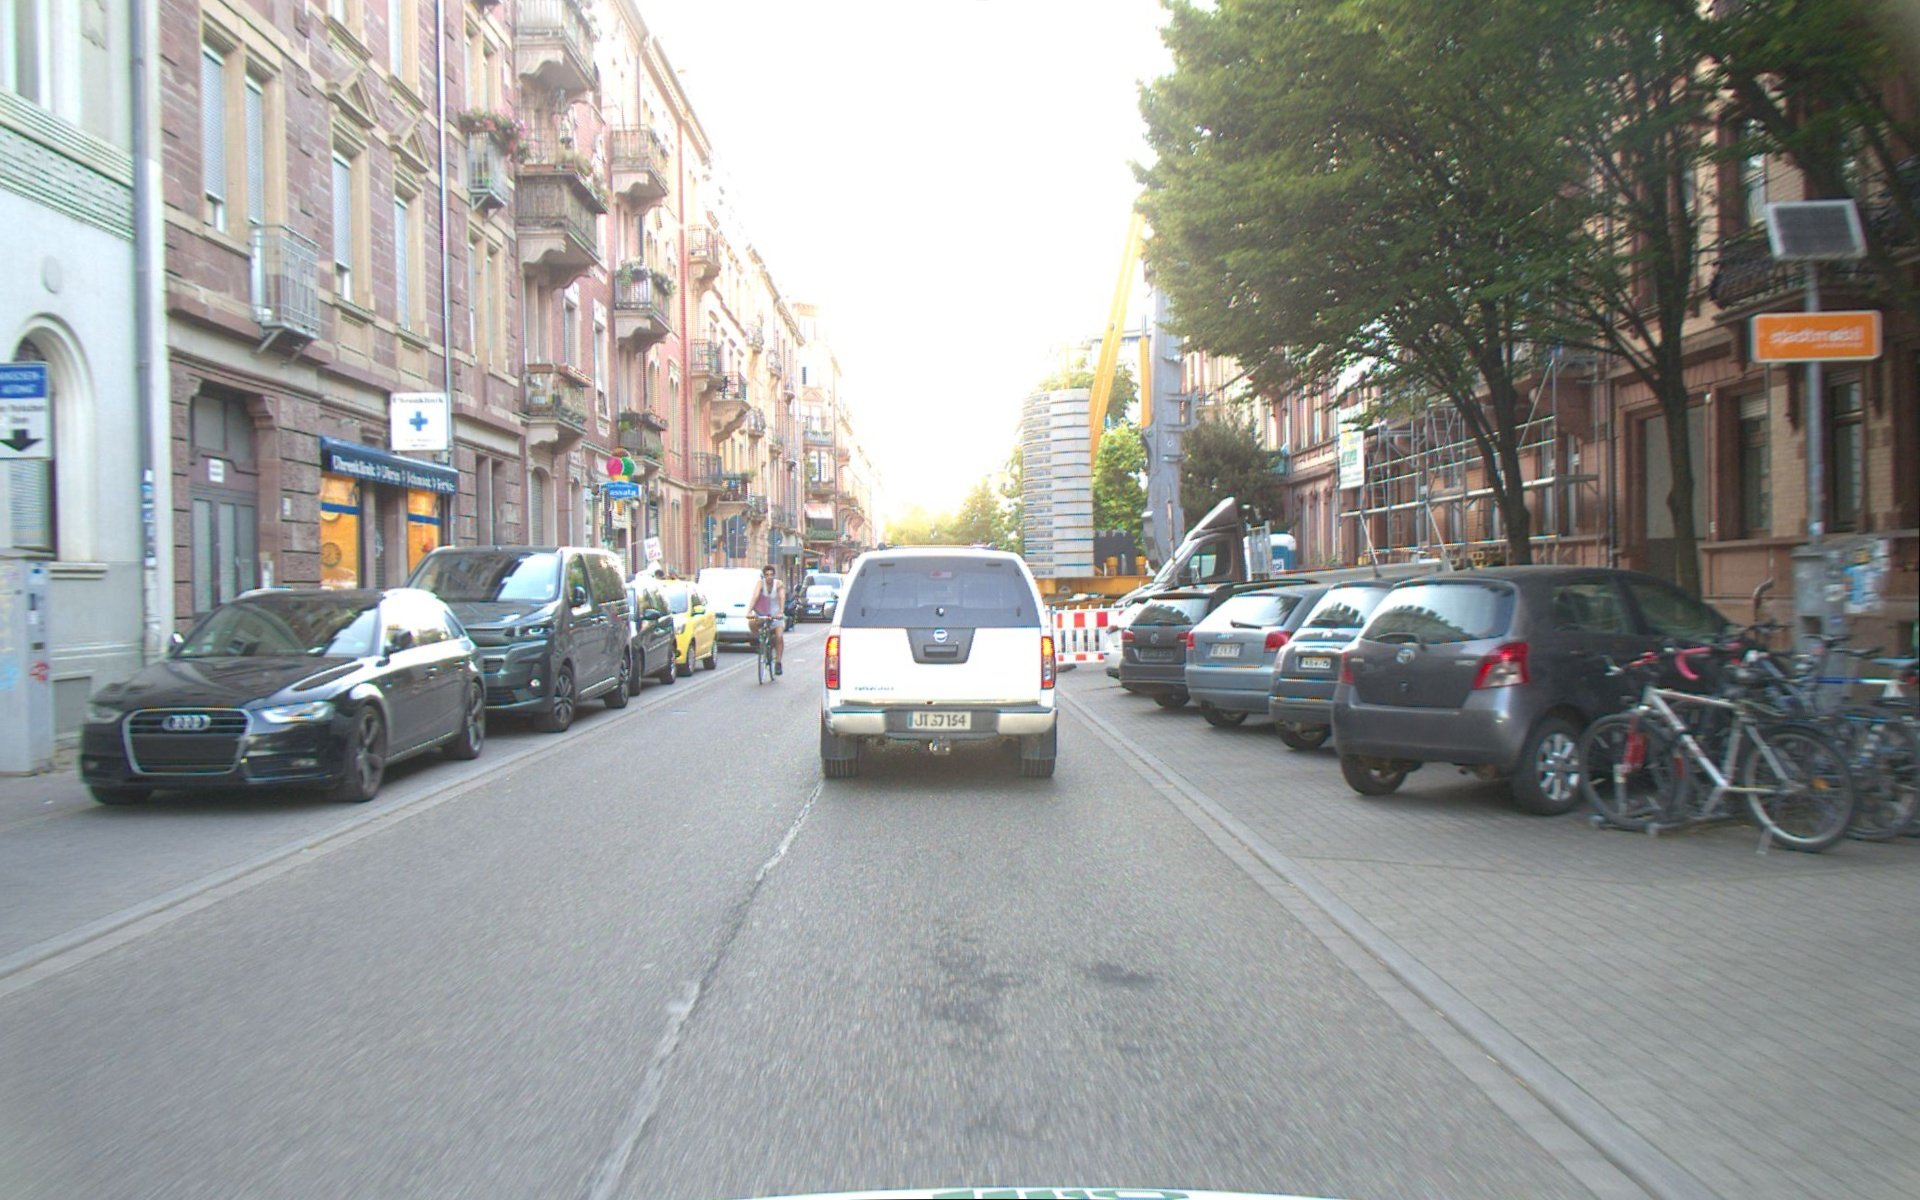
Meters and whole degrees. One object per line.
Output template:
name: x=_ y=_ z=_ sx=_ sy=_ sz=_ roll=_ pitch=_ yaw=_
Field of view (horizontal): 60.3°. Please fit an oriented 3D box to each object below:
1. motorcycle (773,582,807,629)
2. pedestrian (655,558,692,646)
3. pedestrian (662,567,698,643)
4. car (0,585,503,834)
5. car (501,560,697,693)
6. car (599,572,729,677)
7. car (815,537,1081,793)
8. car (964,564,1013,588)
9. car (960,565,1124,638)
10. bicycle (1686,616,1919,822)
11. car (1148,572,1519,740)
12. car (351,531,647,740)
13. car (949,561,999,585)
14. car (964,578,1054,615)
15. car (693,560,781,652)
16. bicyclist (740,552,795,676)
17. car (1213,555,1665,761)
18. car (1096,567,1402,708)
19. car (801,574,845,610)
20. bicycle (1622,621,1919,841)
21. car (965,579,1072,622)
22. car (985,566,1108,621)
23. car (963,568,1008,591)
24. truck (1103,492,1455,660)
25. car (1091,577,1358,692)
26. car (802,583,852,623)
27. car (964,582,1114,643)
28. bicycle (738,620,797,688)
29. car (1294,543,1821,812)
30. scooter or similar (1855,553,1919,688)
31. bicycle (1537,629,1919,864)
motorcycle: x=-5.372 y=0.147 z=52.435 sx=0.819 sy=1.440 sz=2.549 roll=0 pitch=1 yaw=0
pedestrian: x=-6.282 y=0.035 z=36.329 sx=0.723 sy=1.902 sz=0.618 roll=0 pitch=0 yaw=-3
pedestrian: x=-7.078 y=0.111 z=41.797 sx=0.603 sy=1.902 sz=0.740 roll=0 pitch=0 yaw=22
car: x=-4.896 y=0.636 z=12.219 sx=1.873 sy=1.497 sz=4.533 roll=0 pitch=1 yaw=-1
car: x=-5.037 y=0.325 z=23.641 sx=1.866 sy=1.692 sz=4.068 roll=-1 pitch=1 yaw=0
car: x=-4.927 y=0.363 z=27.953 sx=1.468 sy=1.621 sz=3.856 roll=-1 pitch=1 yaw=0
car: x=-0.103 y=0.440 z=14.102 sx=1.894 sy=1.826 sz=4.621 roll=0 pitch=1 yaw=0
car: x=2.650 y=-2.242 z=153.611 sx=4.493 sy=2.215 sz=1.820 roll=0 pitch=0 yaw=1
car: x=2.116 y=0.026 z=42.221 sx=4.107 sy=1.811 sz=1.821 roll=0 pitch=0 yaw=4
bicycle: x=5.246 y=0.663 z=9.700 sx=0.551 sy=1.127 sz=1.839 roll=0 pitch=-1 yaw=-29
car: x=3.969 y=0.504 z=17.380 sx=3.795 sy=1.461 sz=1.740 roll=-3 pitch=2 yaw=-36
car: x=-4.794 y=0.303 z=17.997 sx=1.866 sy=1.959 sz=4.946 roll=0 pitch=1 yaw=-1
car: x=1.300 y=-2.435 z=149.615 sx=4.493 sy=2.215 sz=1.820 roll=0 pitch=0 yaw=1
car: x=2.257 y=-0.179 z=75.993 sx=4.108 sy=1.650 sz=1.820 roll=0 pitch=0 yaw=1
car: x=-5.009 y=0.106 z=37.540 sx=1.528 sy=1.954 sz=3.855 roll=1 pitch=0 yaw=-2
bicyclist: x=-2.984 y=0.210 z=25.665 sx=0.784 sy=1.882 sz=0.943 roll=0 pitch=0 yaw=-3
car: x=4.383 y=0.456 z=15.105 sx=3.779 sy=1.557 sz=1.747 roll=-3 pitch=1 yaw=-27
car: x=3.569 y=0.389 z=20.084 sx=3.858 sy=1.557 sz=1.614 roll=-1 pitch=1 yaw=-41
car: x=-5.953 y=-0.364 z=72.337 sx=1.675 sy=1.557 sz=3.999 roll=0 pitch=1 yaw=-1
bicycle: x=4.729 y=0.691 z=9.401 sx=0.551 sy=1.127 sz=1.839 roll=0 pitch=-1 yaw=-29
car: x=2.287 y=-0.004 z=64.604 sx=4.108 sy=1.650 sz=1.820 roll=0 pitch=0 yaw=1
car: x=2.919 y=-0.229 z=56.308 sx=4.108 sy=1.811 sz=1.820 roll=0 pitch=0 yaw=1
car: x=2.571 y=-2.074 z=167.255 sx=4.493 sy=2.215 sz=1.820 roll=0 pitch=0 yaw=1
truck: x=5.882 y=-0.399 z=31.166 sx=6.190 sy=3.029 sz=2.264 roll=0 pitch=-2 yaw=0
car: x=3.693 y=0.426 z=22.942 sx=3.514 sy=1.490 sz=1.594 roll=-1 pitch=1 yaw=-33
car: x=-5.304 y=0.105 z=66.376 sx=1.755 sy=1.557 sz=4.000 roll=0 pitch=1 yaw=-1
car: x=2.193 y=0.332 z=46.310 sx=4.108 sy=1.650 sz=1.820 roll=0 pitch=0 yaw=1
bicycle: x=-2.974 y=0.823 z=25.661 sx=0.784 sy=0.963 sz=2.003 roll=0 pitch=1 yaw=-3
car: x=4.178 y=0.422 z=11.483 sx=3.364 sy=1.500 sz=1.755 roll=-3 pitch=2 yaw=-33
scooter or similar: x=9.367 y=0.185 z=16.058 sx=0.501 sy=1.264 sz=1.350 roll=-4 pitch=1 yaw=-3
bicycle: x=4.124 y=0.734 z=9.025 sx=0.684 sy=1.127 sz=1.839 roll=0 pitch=-1 yaw=-30
